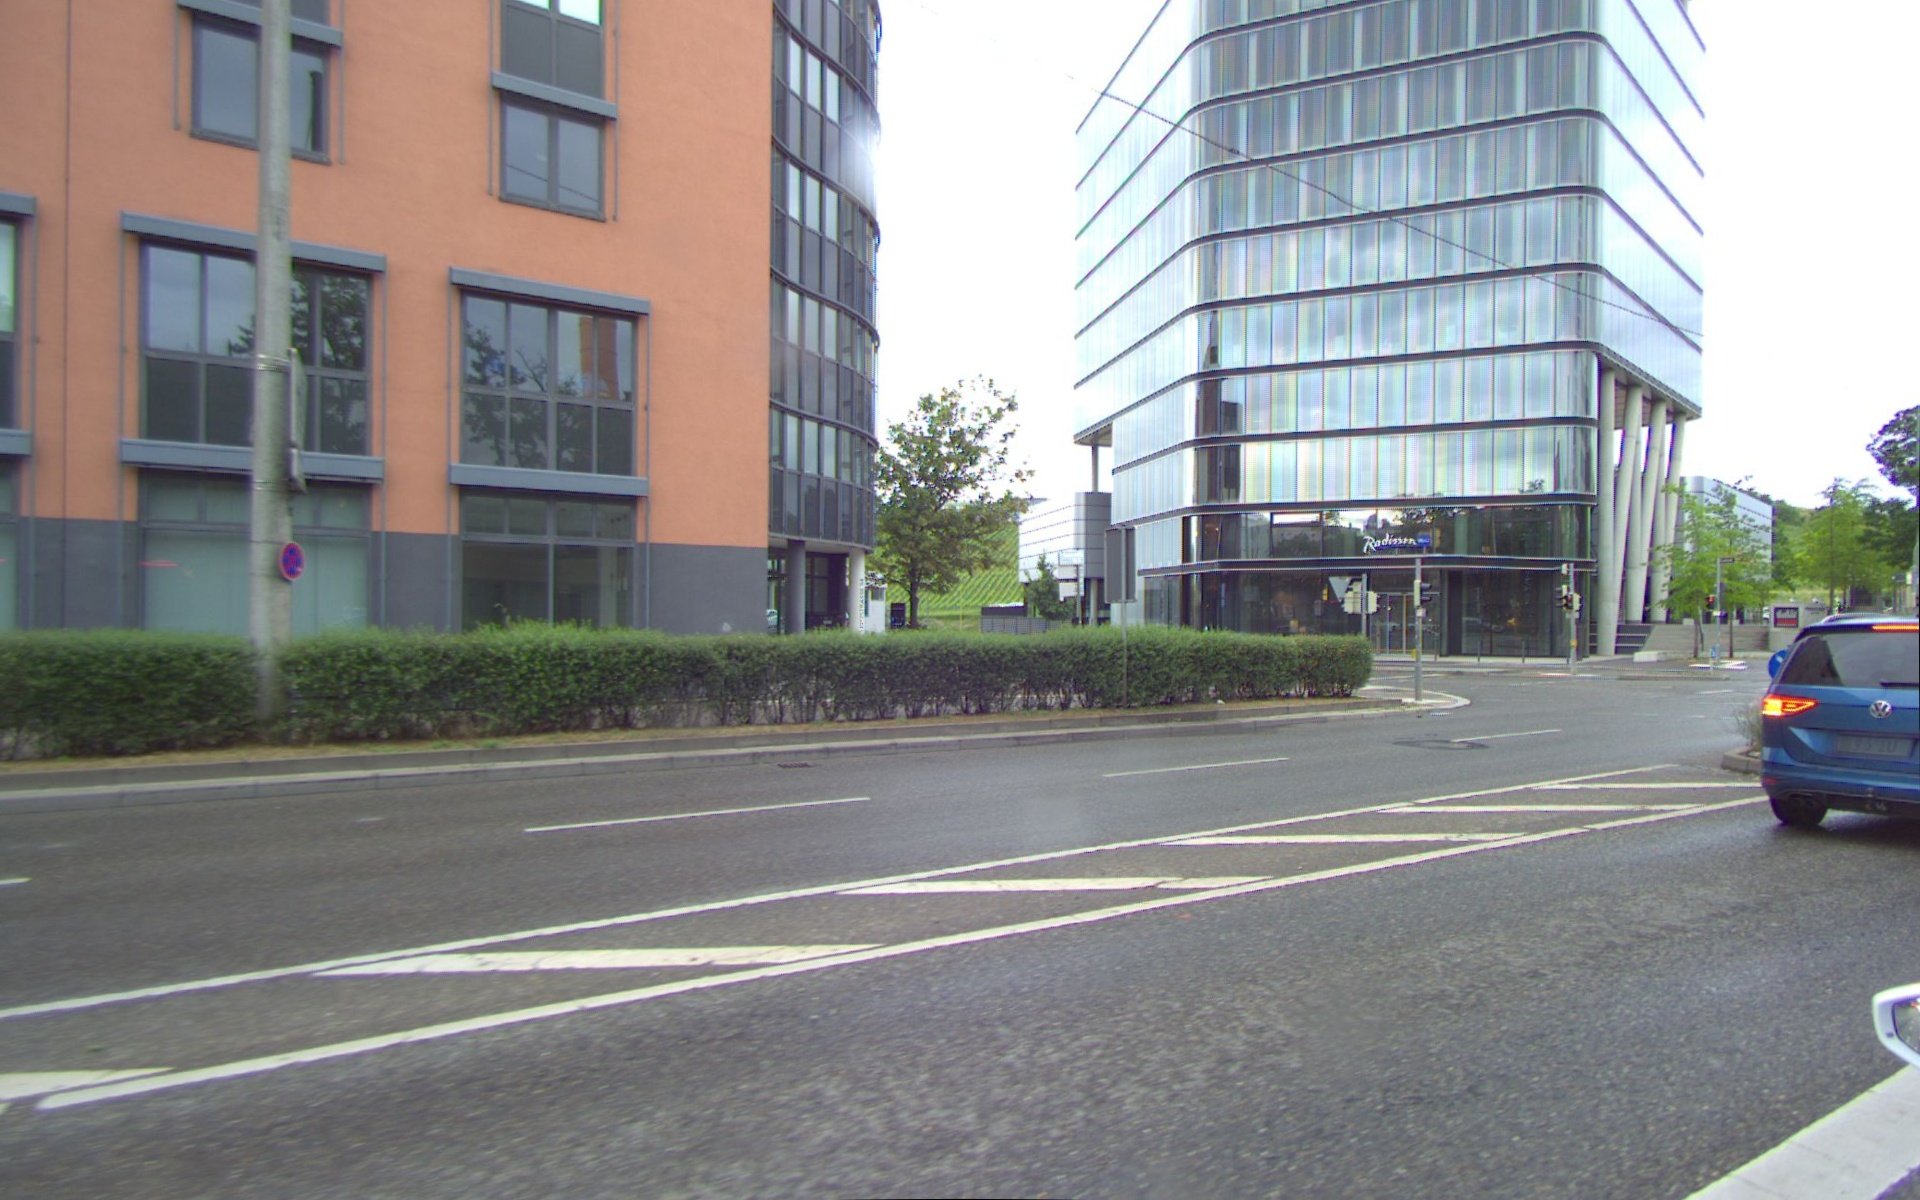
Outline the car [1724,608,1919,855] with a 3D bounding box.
[{"bbox_3d":[7.997,0.898,7.800,4.146,1.617,1.765,1,-2,-29],"label":"car"}]
